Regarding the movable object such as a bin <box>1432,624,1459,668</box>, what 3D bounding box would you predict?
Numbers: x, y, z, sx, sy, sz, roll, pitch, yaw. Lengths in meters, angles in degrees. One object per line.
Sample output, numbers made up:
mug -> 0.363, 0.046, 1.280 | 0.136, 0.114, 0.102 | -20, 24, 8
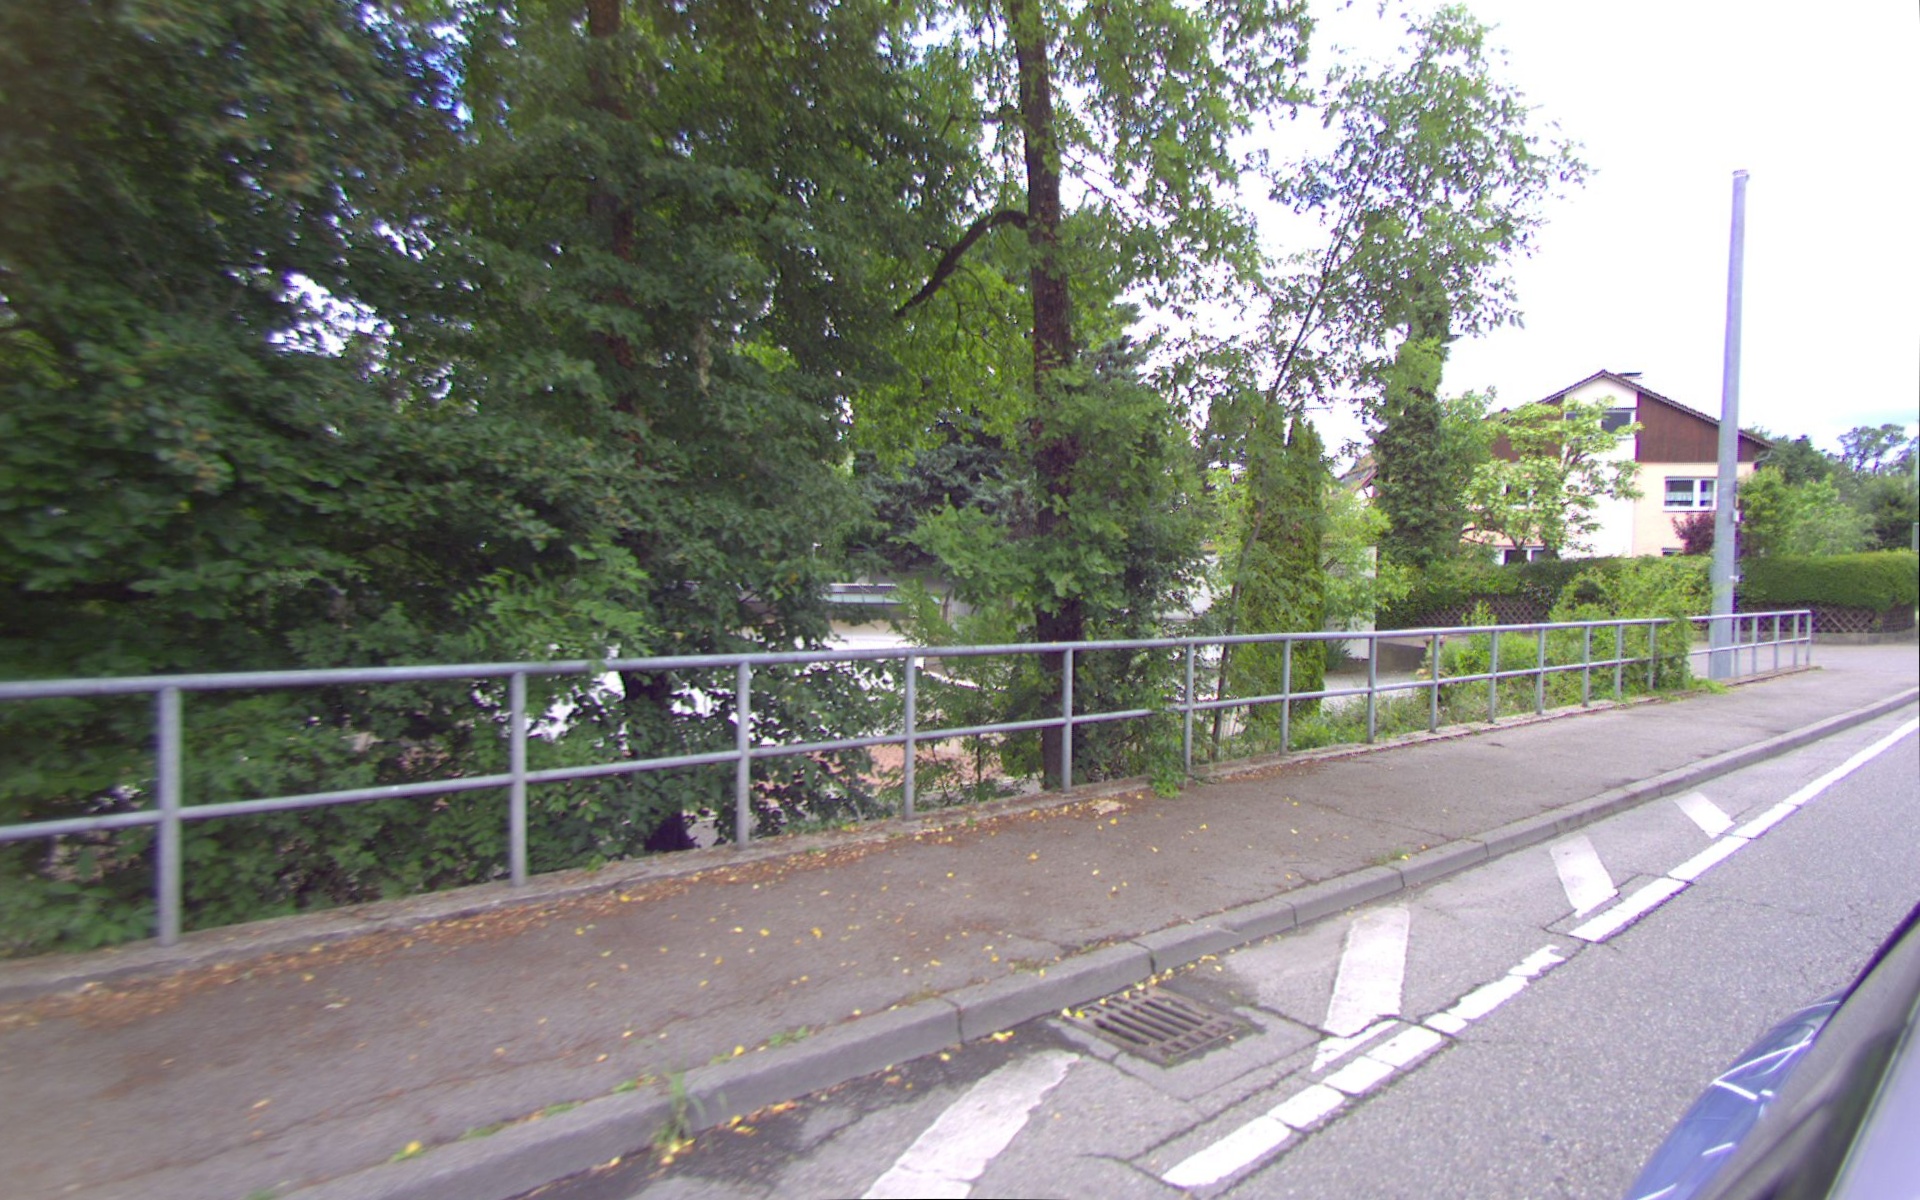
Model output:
movable object such as a bin -> 11.506, 1.083, 23.988 | 0.534, 0.986, 0.505 | -2, 3, 23
